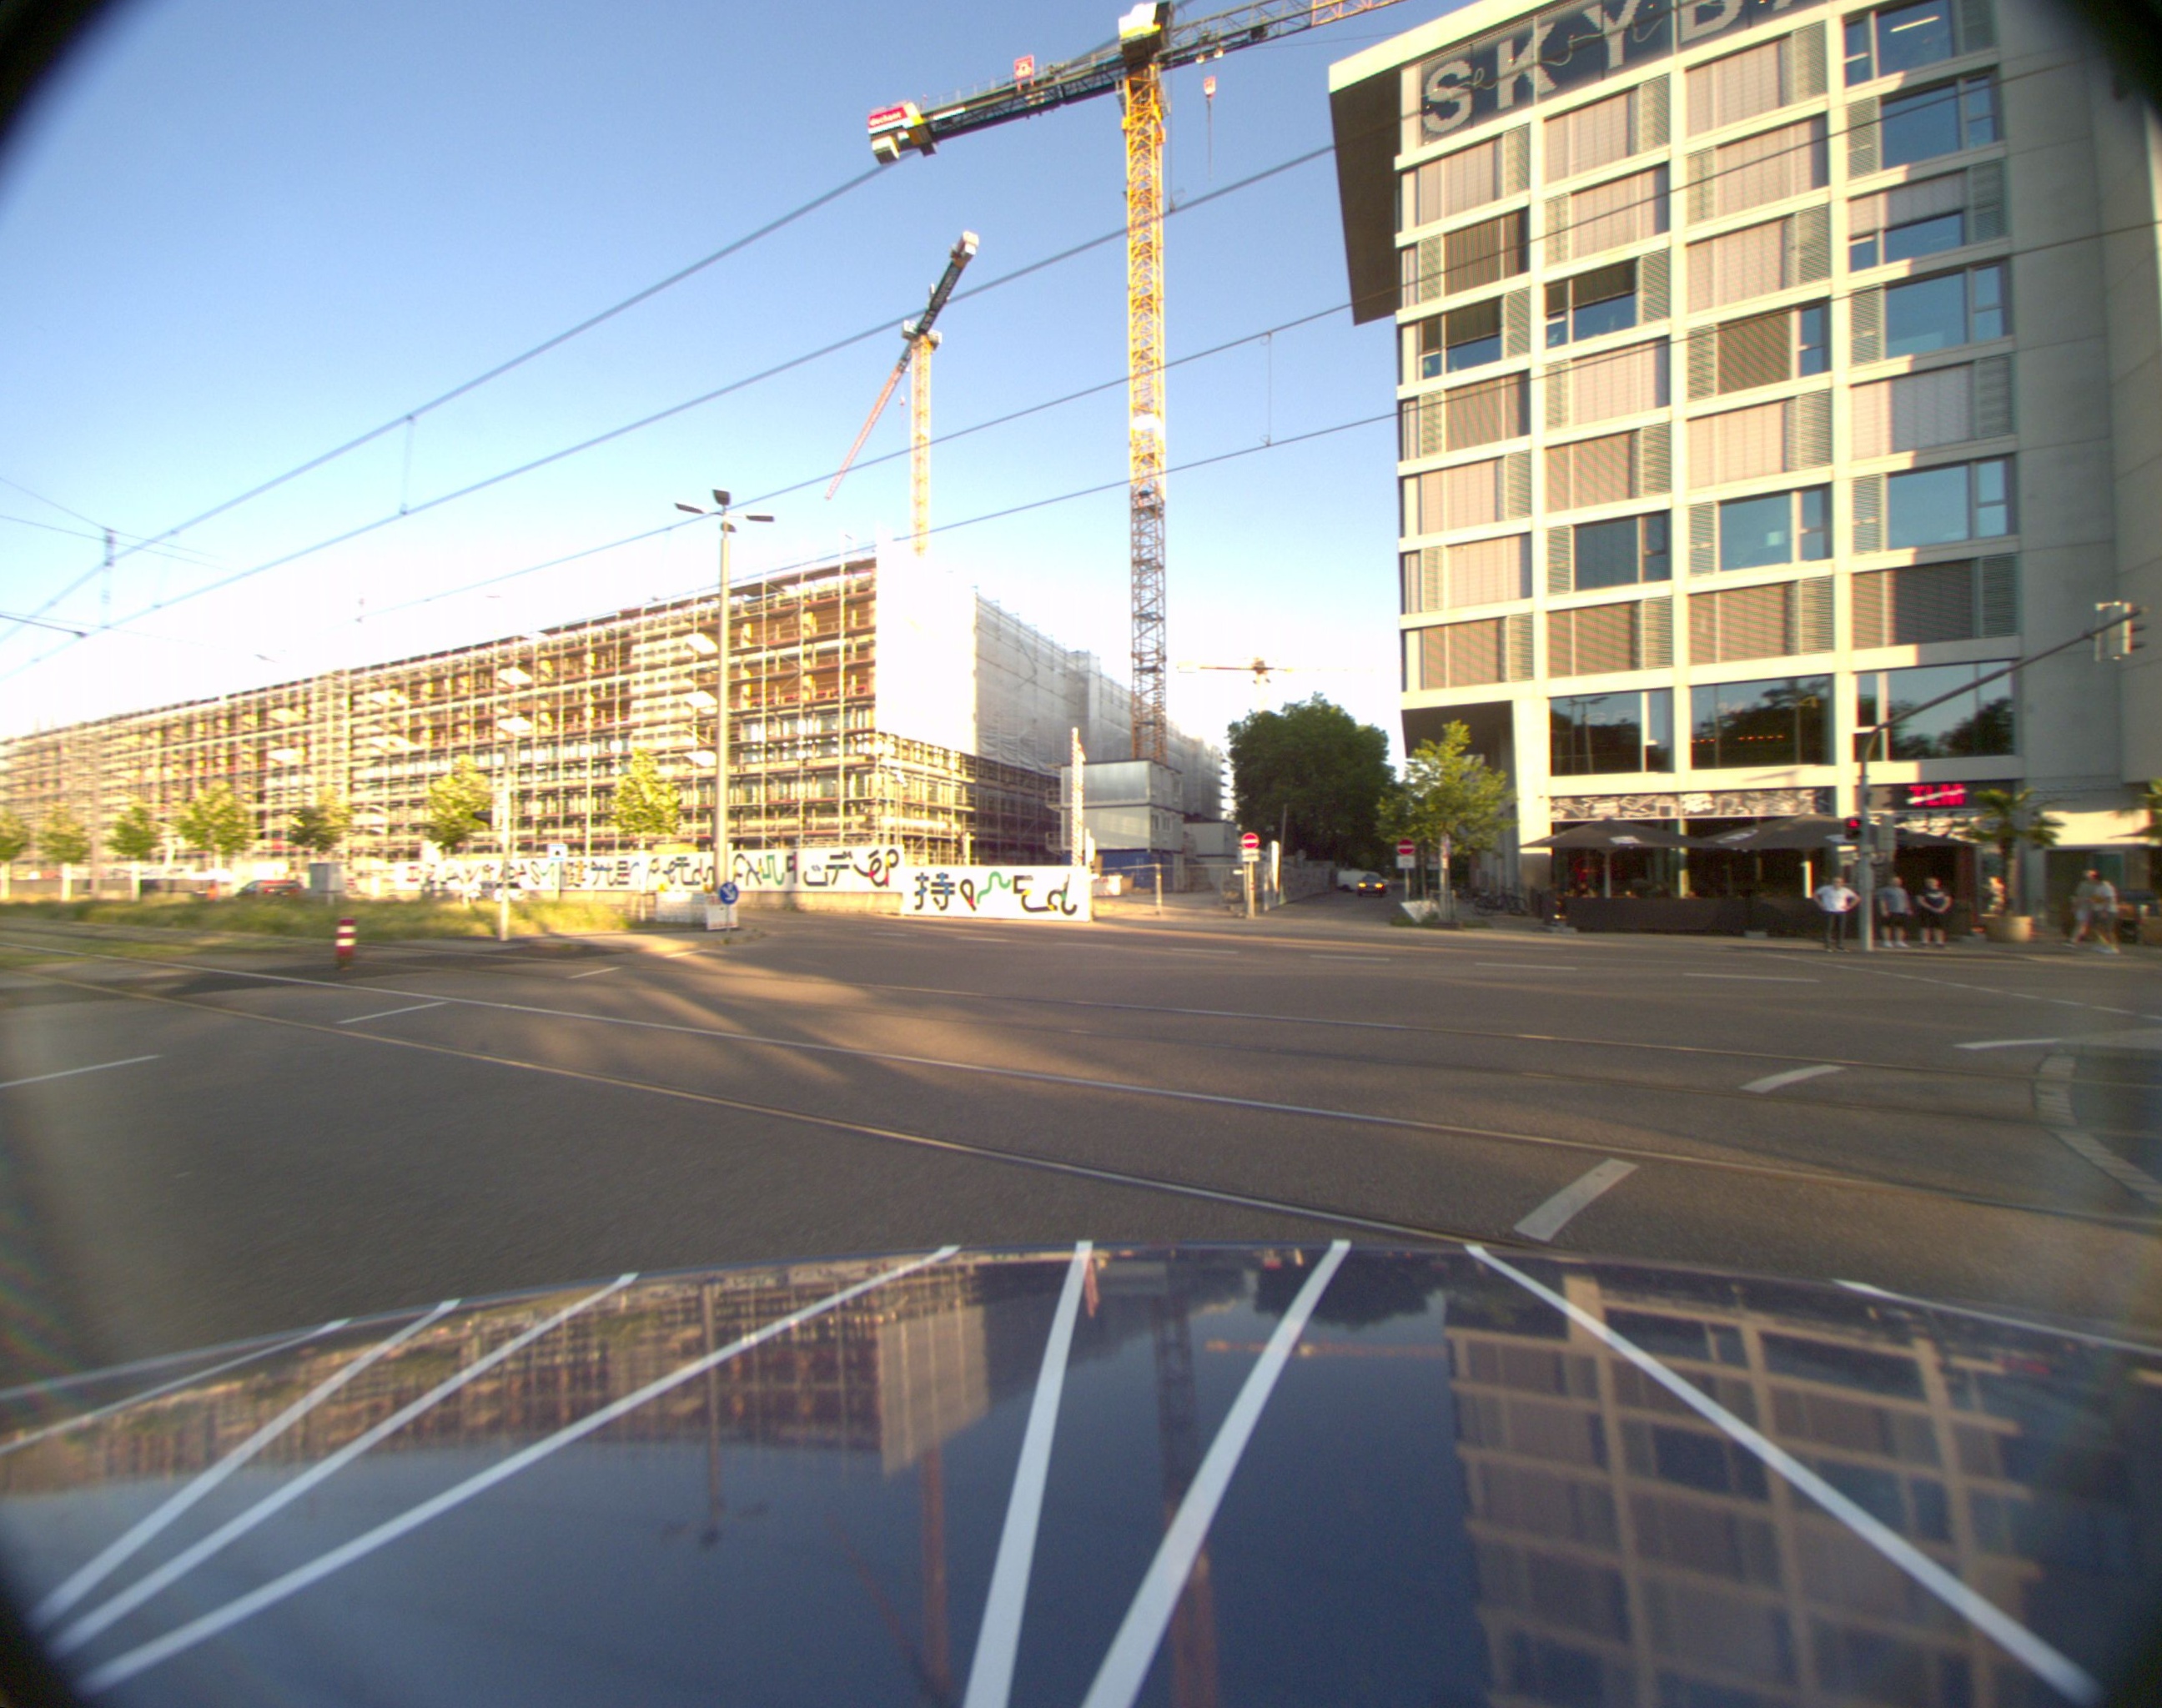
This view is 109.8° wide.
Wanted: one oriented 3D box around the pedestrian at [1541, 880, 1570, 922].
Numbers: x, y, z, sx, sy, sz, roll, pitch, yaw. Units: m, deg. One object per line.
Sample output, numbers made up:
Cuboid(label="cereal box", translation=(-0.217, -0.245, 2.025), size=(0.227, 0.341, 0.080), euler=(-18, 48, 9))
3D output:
Cuboid(label="pedestrian", translation=(16.919, 1.665, 27.091), size=(0.771, 1.453, 0.607), euler=(-1, -1, 23))

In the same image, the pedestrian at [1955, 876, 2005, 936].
Cuboid(label="pedestrian", translation=(24.924, 1.426, 21.074), size=(0.706, 1.594, 0.682), euler=(0, -1, 30))

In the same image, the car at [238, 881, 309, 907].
Cuboid(label="car", translation=(-47.607, 2.354, 44.791), size=(4.058, 1.508, 1.791), euler=(-1, -3, 28))

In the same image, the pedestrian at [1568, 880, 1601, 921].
Cuboid(label="pedestrian", translation=(17.947, 1.649, 27.094), size=(0.771, 1.405, 0.606), euler=(0, -1, 7))

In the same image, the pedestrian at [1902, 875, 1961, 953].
Cuboid(label="pedestrian", translation=(20.840, 1.457, 18.630), size=(0.679, 1.826, 0.709), euler=(0, 2, 22))

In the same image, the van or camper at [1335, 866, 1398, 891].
Cuboid(label="van or camper", translation=(26.321, 2.264, 70.157), size=(4.942, 2.109, 2.497), euler=(-4, -3, 32))

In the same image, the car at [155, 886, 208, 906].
Cuboid(label="car", translation=(-74.692, 3.472, 63.083), size=(3.990, 1.564, 2.004), euler=(-1, -1, 27))

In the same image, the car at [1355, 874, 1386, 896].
Cuboid(label="car", translation=(22.102, 2.346, 57.876), size=(2.004, 1.588, 3.713), euler=(-1, -1, 24))

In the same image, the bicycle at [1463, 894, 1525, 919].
Cuboid(label="bicycle", translation=(15.365, 1.955, 28.333), size=(1.974, 0.869, 0.395), euler=(-2, 1, 22))

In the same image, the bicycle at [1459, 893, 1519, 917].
Cuboid(label="bicycle", translation=(15.661, 1.966, 29.187), size=(1.974, 0.869, 0.395), euler=(-2, 1, 22))

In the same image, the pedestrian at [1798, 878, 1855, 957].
Cuboid(label="pedestrian", translation=(18.118, 1.518, 18.480), size=(0.761, 1.825, 0.709), euler=(-1, 2, 22))

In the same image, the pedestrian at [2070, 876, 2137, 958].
Cuboid(label="pedestrian", translation=(23.653, 1.440, 17.592), size=(0.707, 1.811, 0.618), euler=(0, 2, 26))

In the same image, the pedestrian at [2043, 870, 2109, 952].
Cuboid(label="pedestrian", translation=(23.887, 1.346, 18.258), size=(0.707, 1.913, 0.682), euler=(0, 2, 24))

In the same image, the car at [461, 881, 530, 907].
Cuboid(label="car", translation=(-33.157, 2.246, 43.003), size=(4.057, 1.446, 1.673), euler=(-1, -3, 31))
